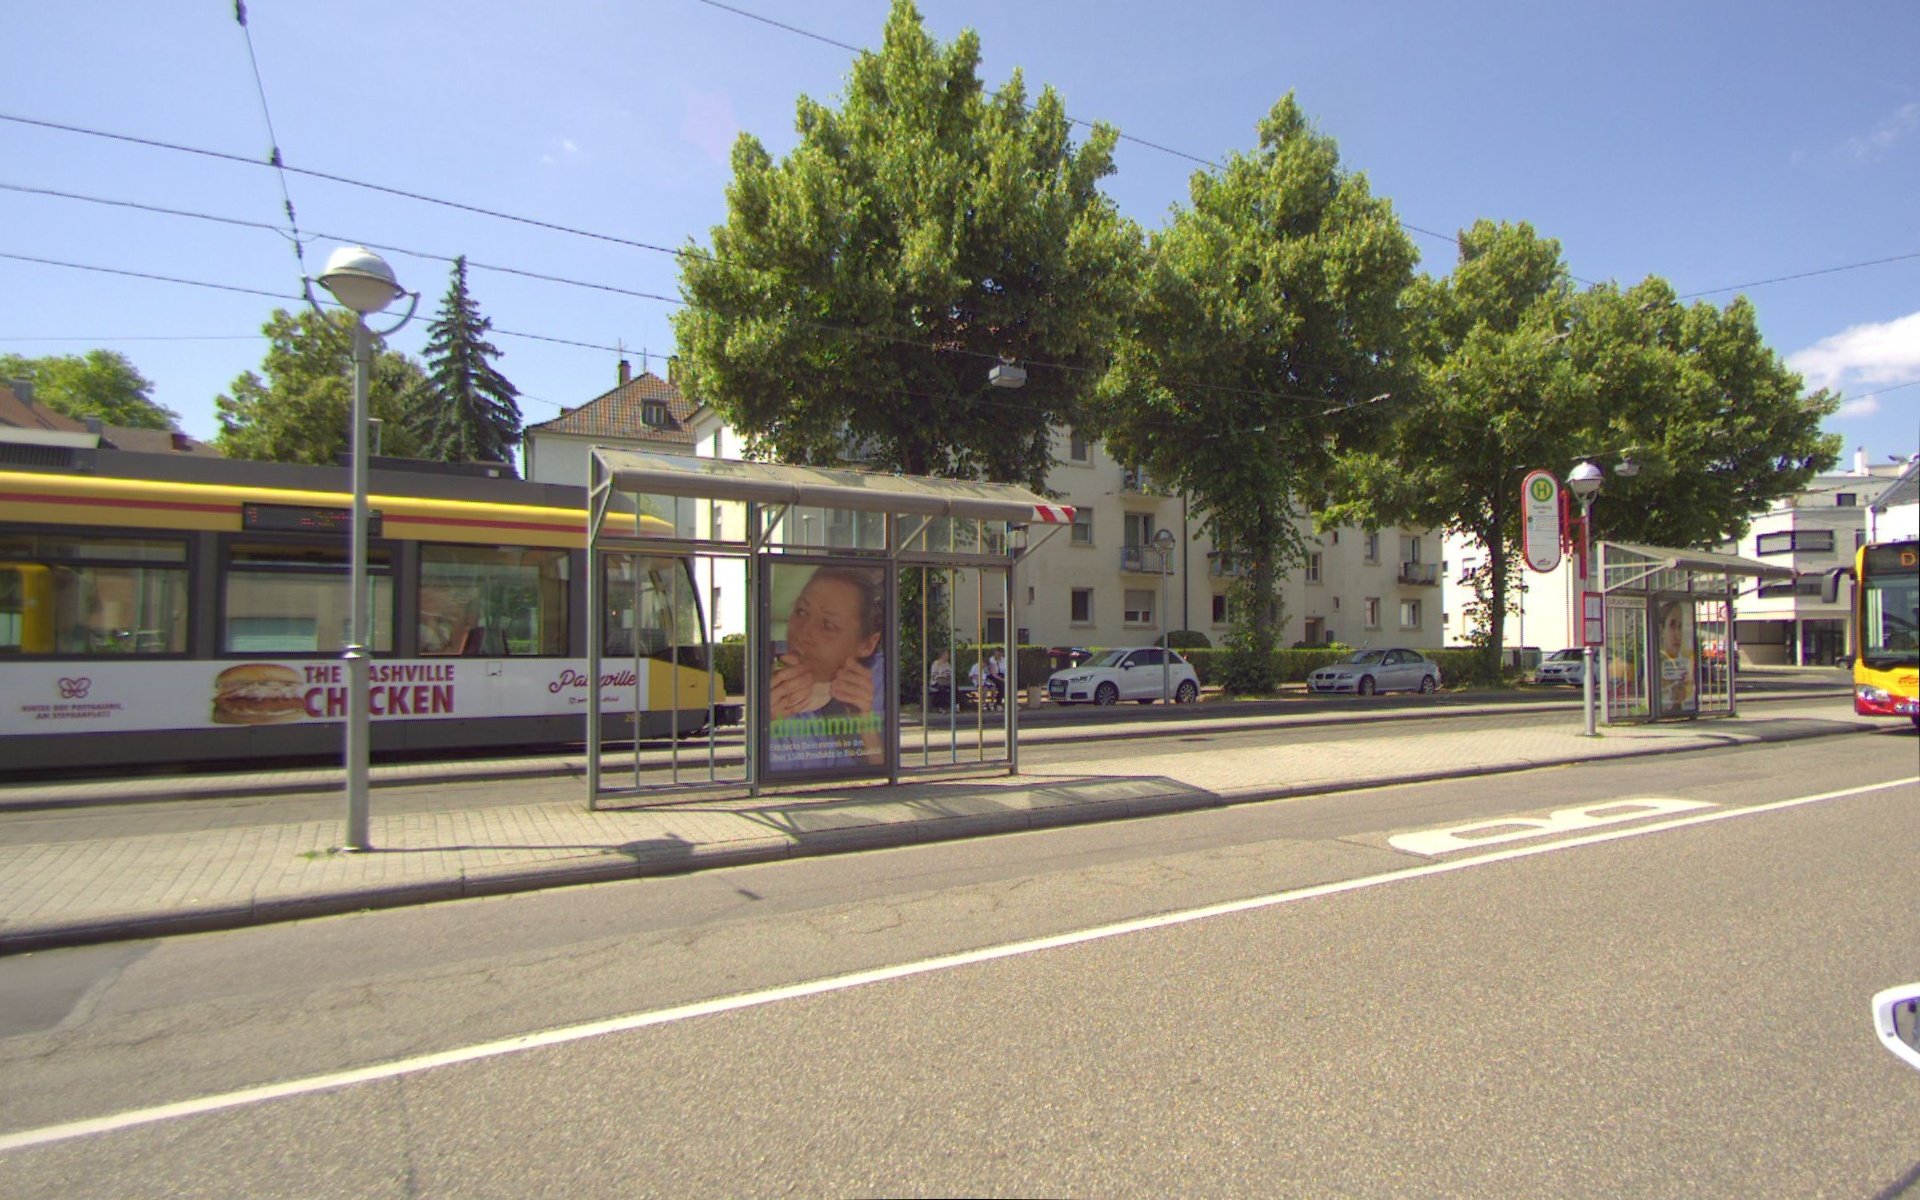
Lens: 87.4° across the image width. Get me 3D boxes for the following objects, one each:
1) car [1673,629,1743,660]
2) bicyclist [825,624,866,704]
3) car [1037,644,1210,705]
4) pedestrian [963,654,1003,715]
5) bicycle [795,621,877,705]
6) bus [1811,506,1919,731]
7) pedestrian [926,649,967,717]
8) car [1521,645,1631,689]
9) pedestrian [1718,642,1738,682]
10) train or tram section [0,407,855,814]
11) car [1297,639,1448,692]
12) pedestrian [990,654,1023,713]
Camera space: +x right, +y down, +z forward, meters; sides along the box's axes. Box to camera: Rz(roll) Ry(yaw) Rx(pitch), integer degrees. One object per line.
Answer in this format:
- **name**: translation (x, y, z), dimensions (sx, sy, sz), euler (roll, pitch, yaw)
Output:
- **car**: translation (53.650, 3.169, 72.155), dimensions (1.961, 2.040, 4.000), euler (2, -1, -1)
- **bicyclist**: translation (-2.602, 1.444, 22.751), dimensions (0.665, 1.766, 0.632), euler (3, -1, -30)
- **car**: translation (3.893, 1.754, 23.726), dimensions (3.954, 1.290, 1.560), euler (3, -2, -31)
- **pedestrian**: translation (0.464, 1.682, 20.034), dimensions (0.533, 1.153, 0.612), euler (3, -1, -27)
- **bicycle**: translation (-2.788, 1.421, 22.638), dimensions (1.651, 1.837, 0.629), euler (3, -1, -31)
- **bus**: translation (19.273, 0.441, 17.683), dimensions (11.980, 3.291, 2.892), euler (2, -1, -31)
- **pedestrian**: translation (-0.267, 1.599, 19.528), dimensions (0.533, 1.267, 0.612), euler (3, -1, -27)
- **car**: translation (20.934, 2.274, 34.106), dimensions (3.959, 1.336, 1.704), euler (3, -2, -34)
- **pedestrian**: translation (39.693, 3.206, 51.887), dimensions (0.672, 2.040, 0.618), euler (1, -1, 25)
- **train or tram section**: translation (-8.111, 0.150, 11.191), dimensions (13.832, 3.691, 2.949), euler (2, -1, -31)
- **car**: translation (11.747, 1.864, 28.527), dimensions (4.351, 1.375, 1.685), euler (3, -2, -31)
- **pedestrian**: translation (0.940, 1.674, 20.269), dimensions (0.451, 1.153, 0.508), euler (3, -1, -27)
